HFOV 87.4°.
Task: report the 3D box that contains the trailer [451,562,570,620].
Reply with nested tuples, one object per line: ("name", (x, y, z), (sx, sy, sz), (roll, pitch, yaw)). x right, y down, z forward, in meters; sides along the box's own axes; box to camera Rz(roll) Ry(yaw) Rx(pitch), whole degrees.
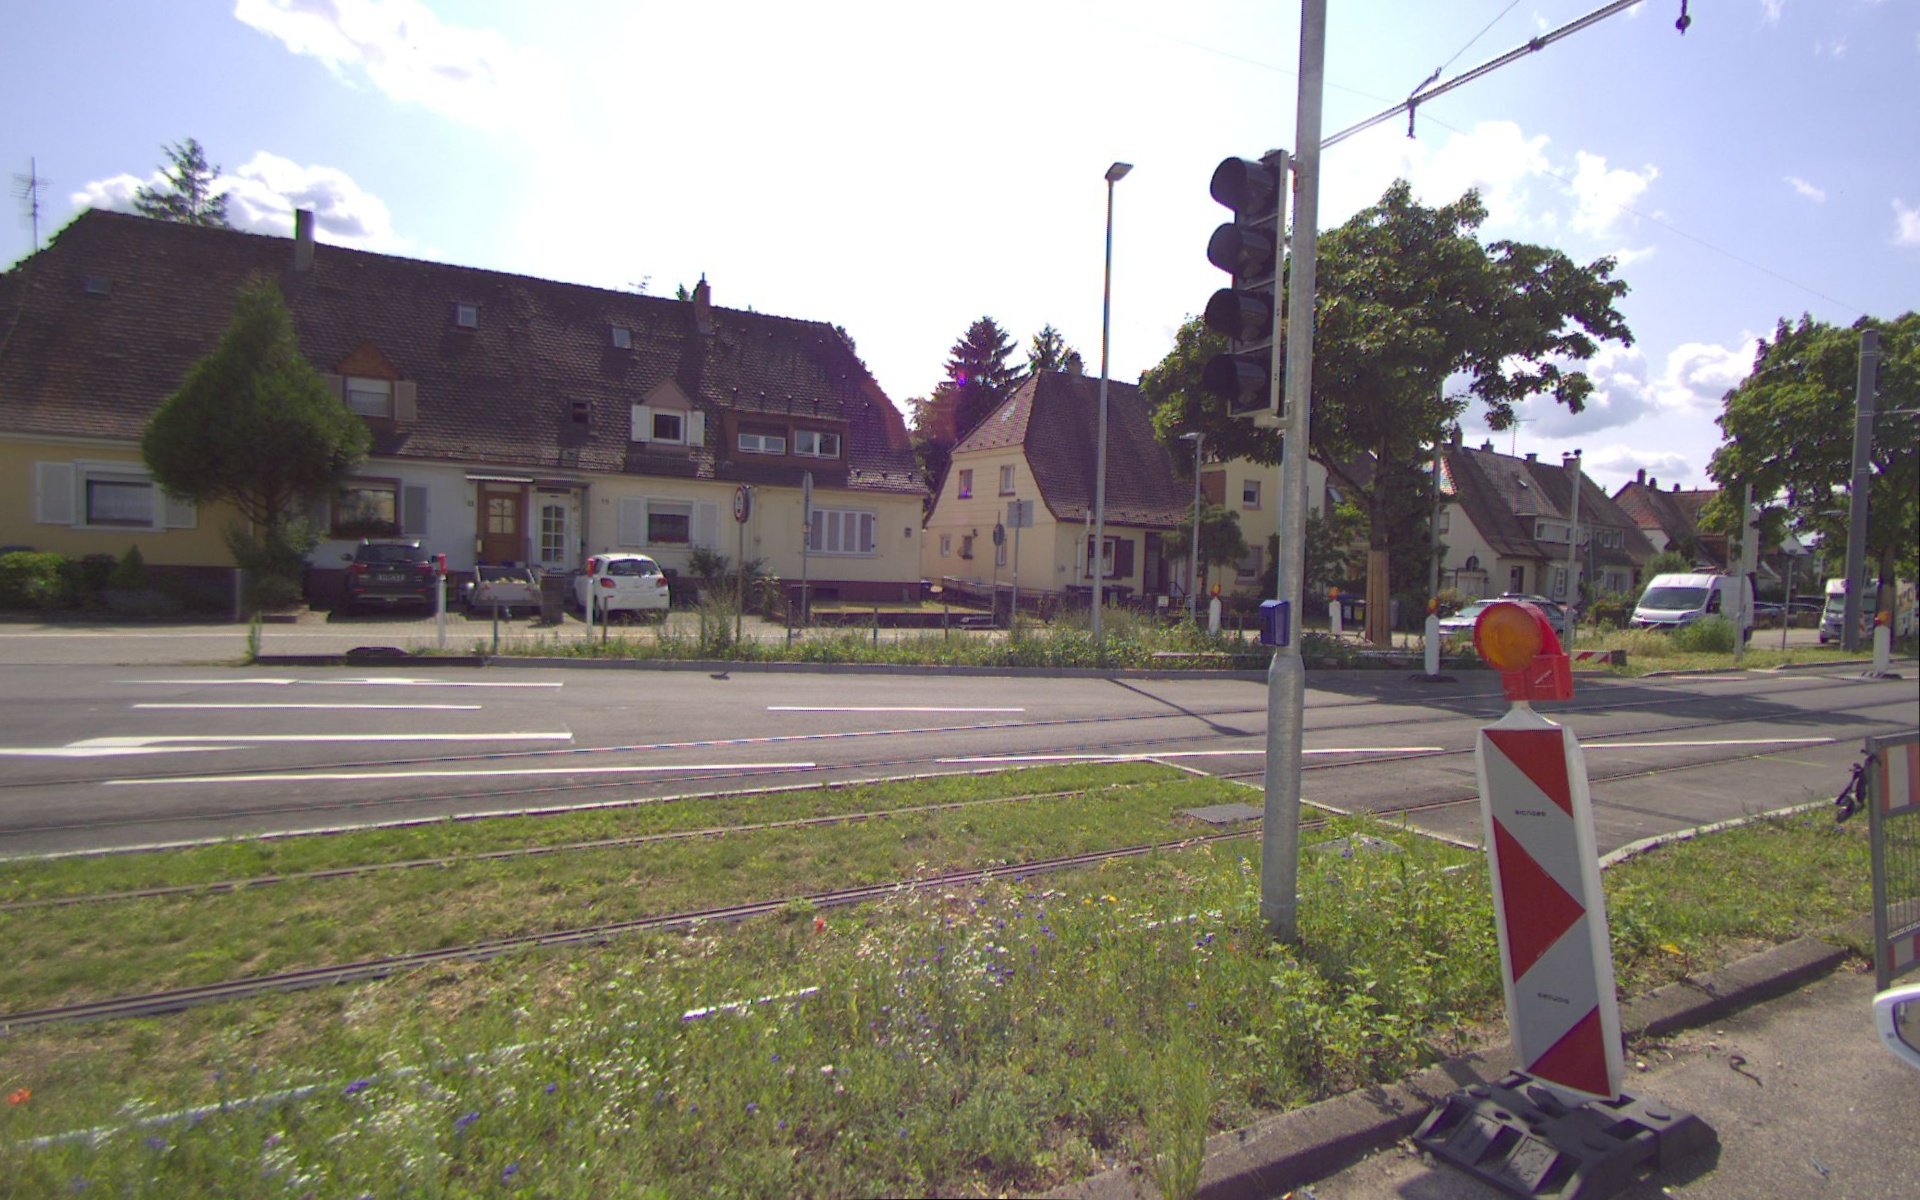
("trailer", (-10.491, -0.250, 23.249), (1.938, 1.139, 4.894), (1, 2, -31))

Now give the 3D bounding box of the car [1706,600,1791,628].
("car", (50.306, 0.868, 64.151), (1.860, 1.551, 3.950), (0, 3, -42))

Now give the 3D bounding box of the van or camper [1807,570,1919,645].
("van or camper", (39.703, 0.332, 44.063), (7.230, 3.010, 2.357), (1, 2, -38))

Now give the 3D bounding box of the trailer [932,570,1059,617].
("trailer", (1.116, -0.270, 34.897), (1.999, 1.412, 5.232), (1, 2, -29))

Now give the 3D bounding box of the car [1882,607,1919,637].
("car", (49.873, 1.152, 52.101), (4.757, 1.406, 1.841), (1, 2, -33))

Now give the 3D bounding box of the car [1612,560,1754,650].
("car", (23.471, 0.160, 32.572), (4.866, 2.704, 2.139), (1, 2, -35))

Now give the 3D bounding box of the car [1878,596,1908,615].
("car", (141.098, 0.761, 151.986), (2.045, 2.758, 6.983), (1, 1, 33))

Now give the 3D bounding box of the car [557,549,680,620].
("car", (-8.299, -0.399, 24.215), (1.743, 1.565, 3.923), (1, 2, -35))

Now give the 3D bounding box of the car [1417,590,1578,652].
("car", (14.351, 0.548, 26.732), (4.703, 1.484, 1.682), (1, 2, -33))

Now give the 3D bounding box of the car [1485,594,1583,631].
("car", (26.925, 0.579, 47.202), (1.654, 1.542, 3.592), (1, 2, -35))

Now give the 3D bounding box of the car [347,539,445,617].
("car", (-12.523, -0.510, 22.482), (1.684, 1.565, 3.869), (1, 2, -27))
